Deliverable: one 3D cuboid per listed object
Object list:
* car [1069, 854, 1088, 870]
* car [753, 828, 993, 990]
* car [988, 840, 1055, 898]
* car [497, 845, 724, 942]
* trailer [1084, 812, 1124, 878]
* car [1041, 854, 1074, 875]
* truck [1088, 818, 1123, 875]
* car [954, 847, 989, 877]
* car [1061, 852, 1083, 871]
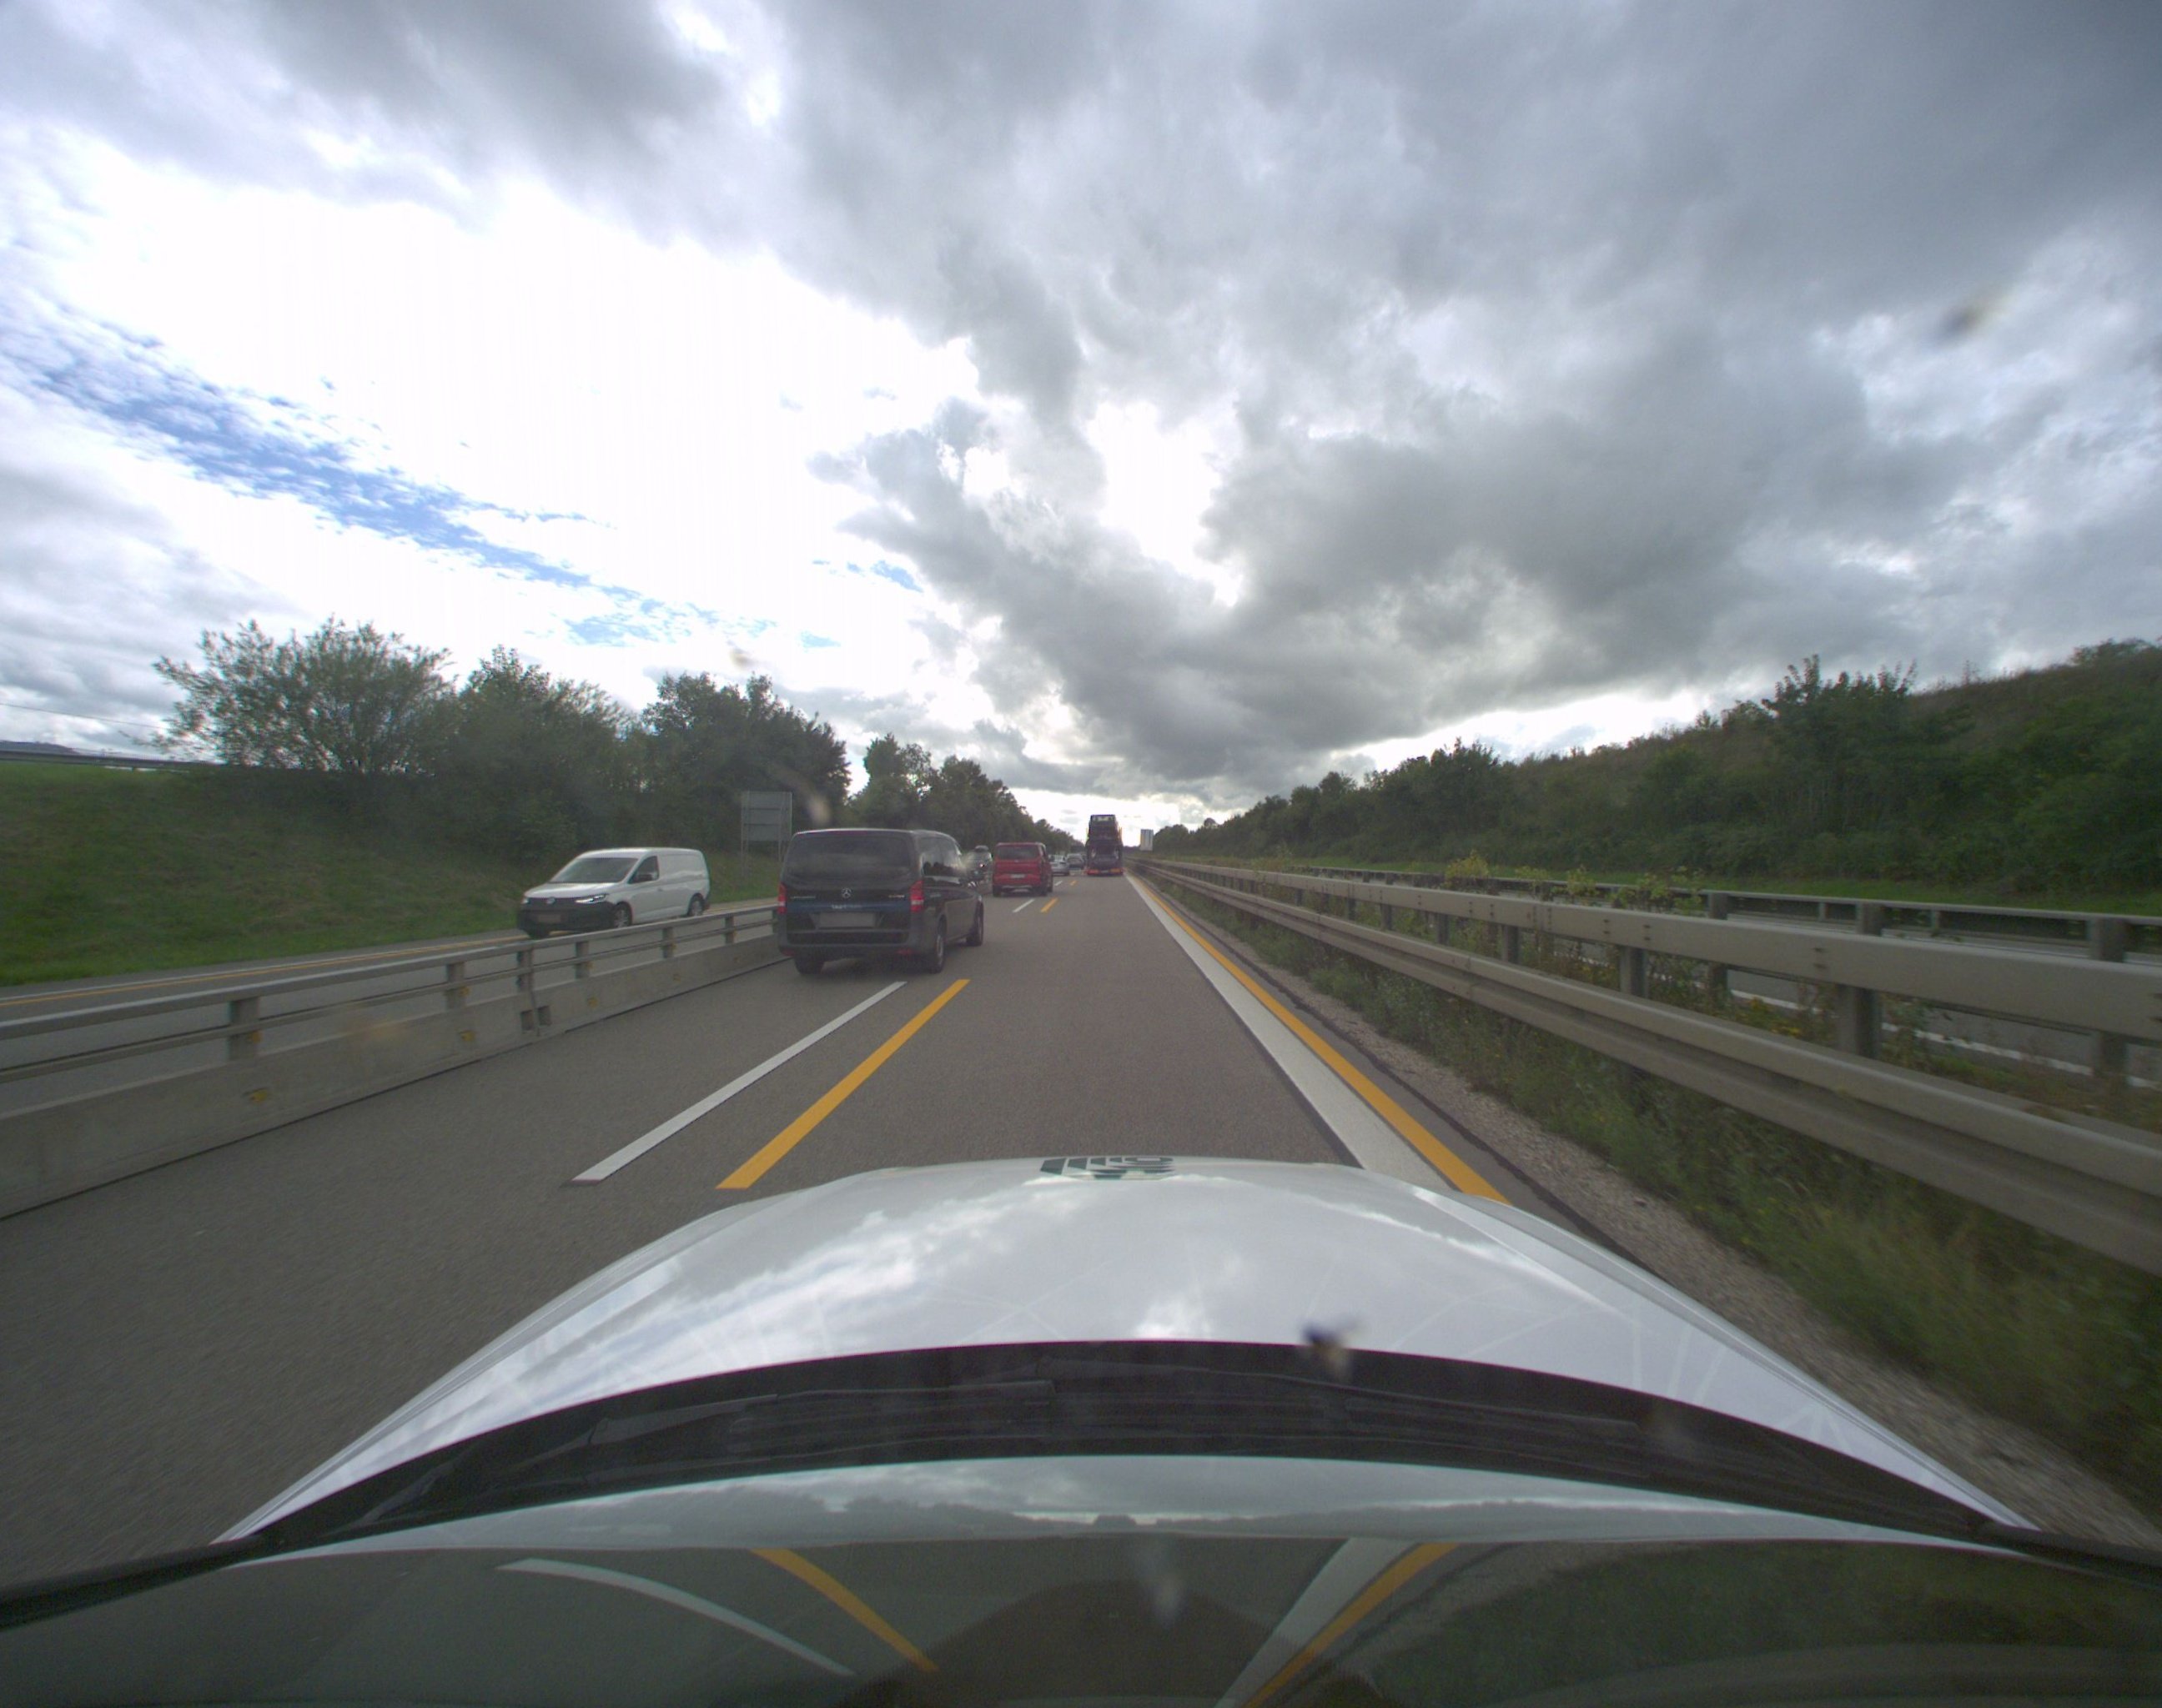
[{"bbox_3d":[-0.232,0.861,93.519,2.024,1.757,4.578,-1,0,1],"label":"car"},{"bbox_3d":[-2.734,0.645,12.328,1.986,1.843,5.611,-1,0,2],"label":"car"},{"bbox_3d":[-2.189,0.548,31.226,2.023,2.013,4.579,-1,0,2],"label":"car"},{"bbox_3d":[-9.909,0.735,17.745,1.986,1.791,4.935,-1,0,1],"label":"car"},{"bbox_3d":[1.671,-0.569,57.046,2.505,4.105,11.119,-1,0,2],"label":"trailer"},{"bbox_3d":[-1.615,0.713,57.501,2.024,1.430,4.578,-1,0,1],"label":"car"},{"bbox_3d":[1.883,-0.553,61.797,2.505,4.105,5.688,-1,0,2],"label":"truck"},{"bbox_3d":[-8.593,0.579,64.423,1.987,2.252,5.050,-1,0,0],"label":"car"},{"bbox_3d":[-0.842,0.722,81.657,2.024,1.757,4.578,-1,0,1],"label":"car"}]
